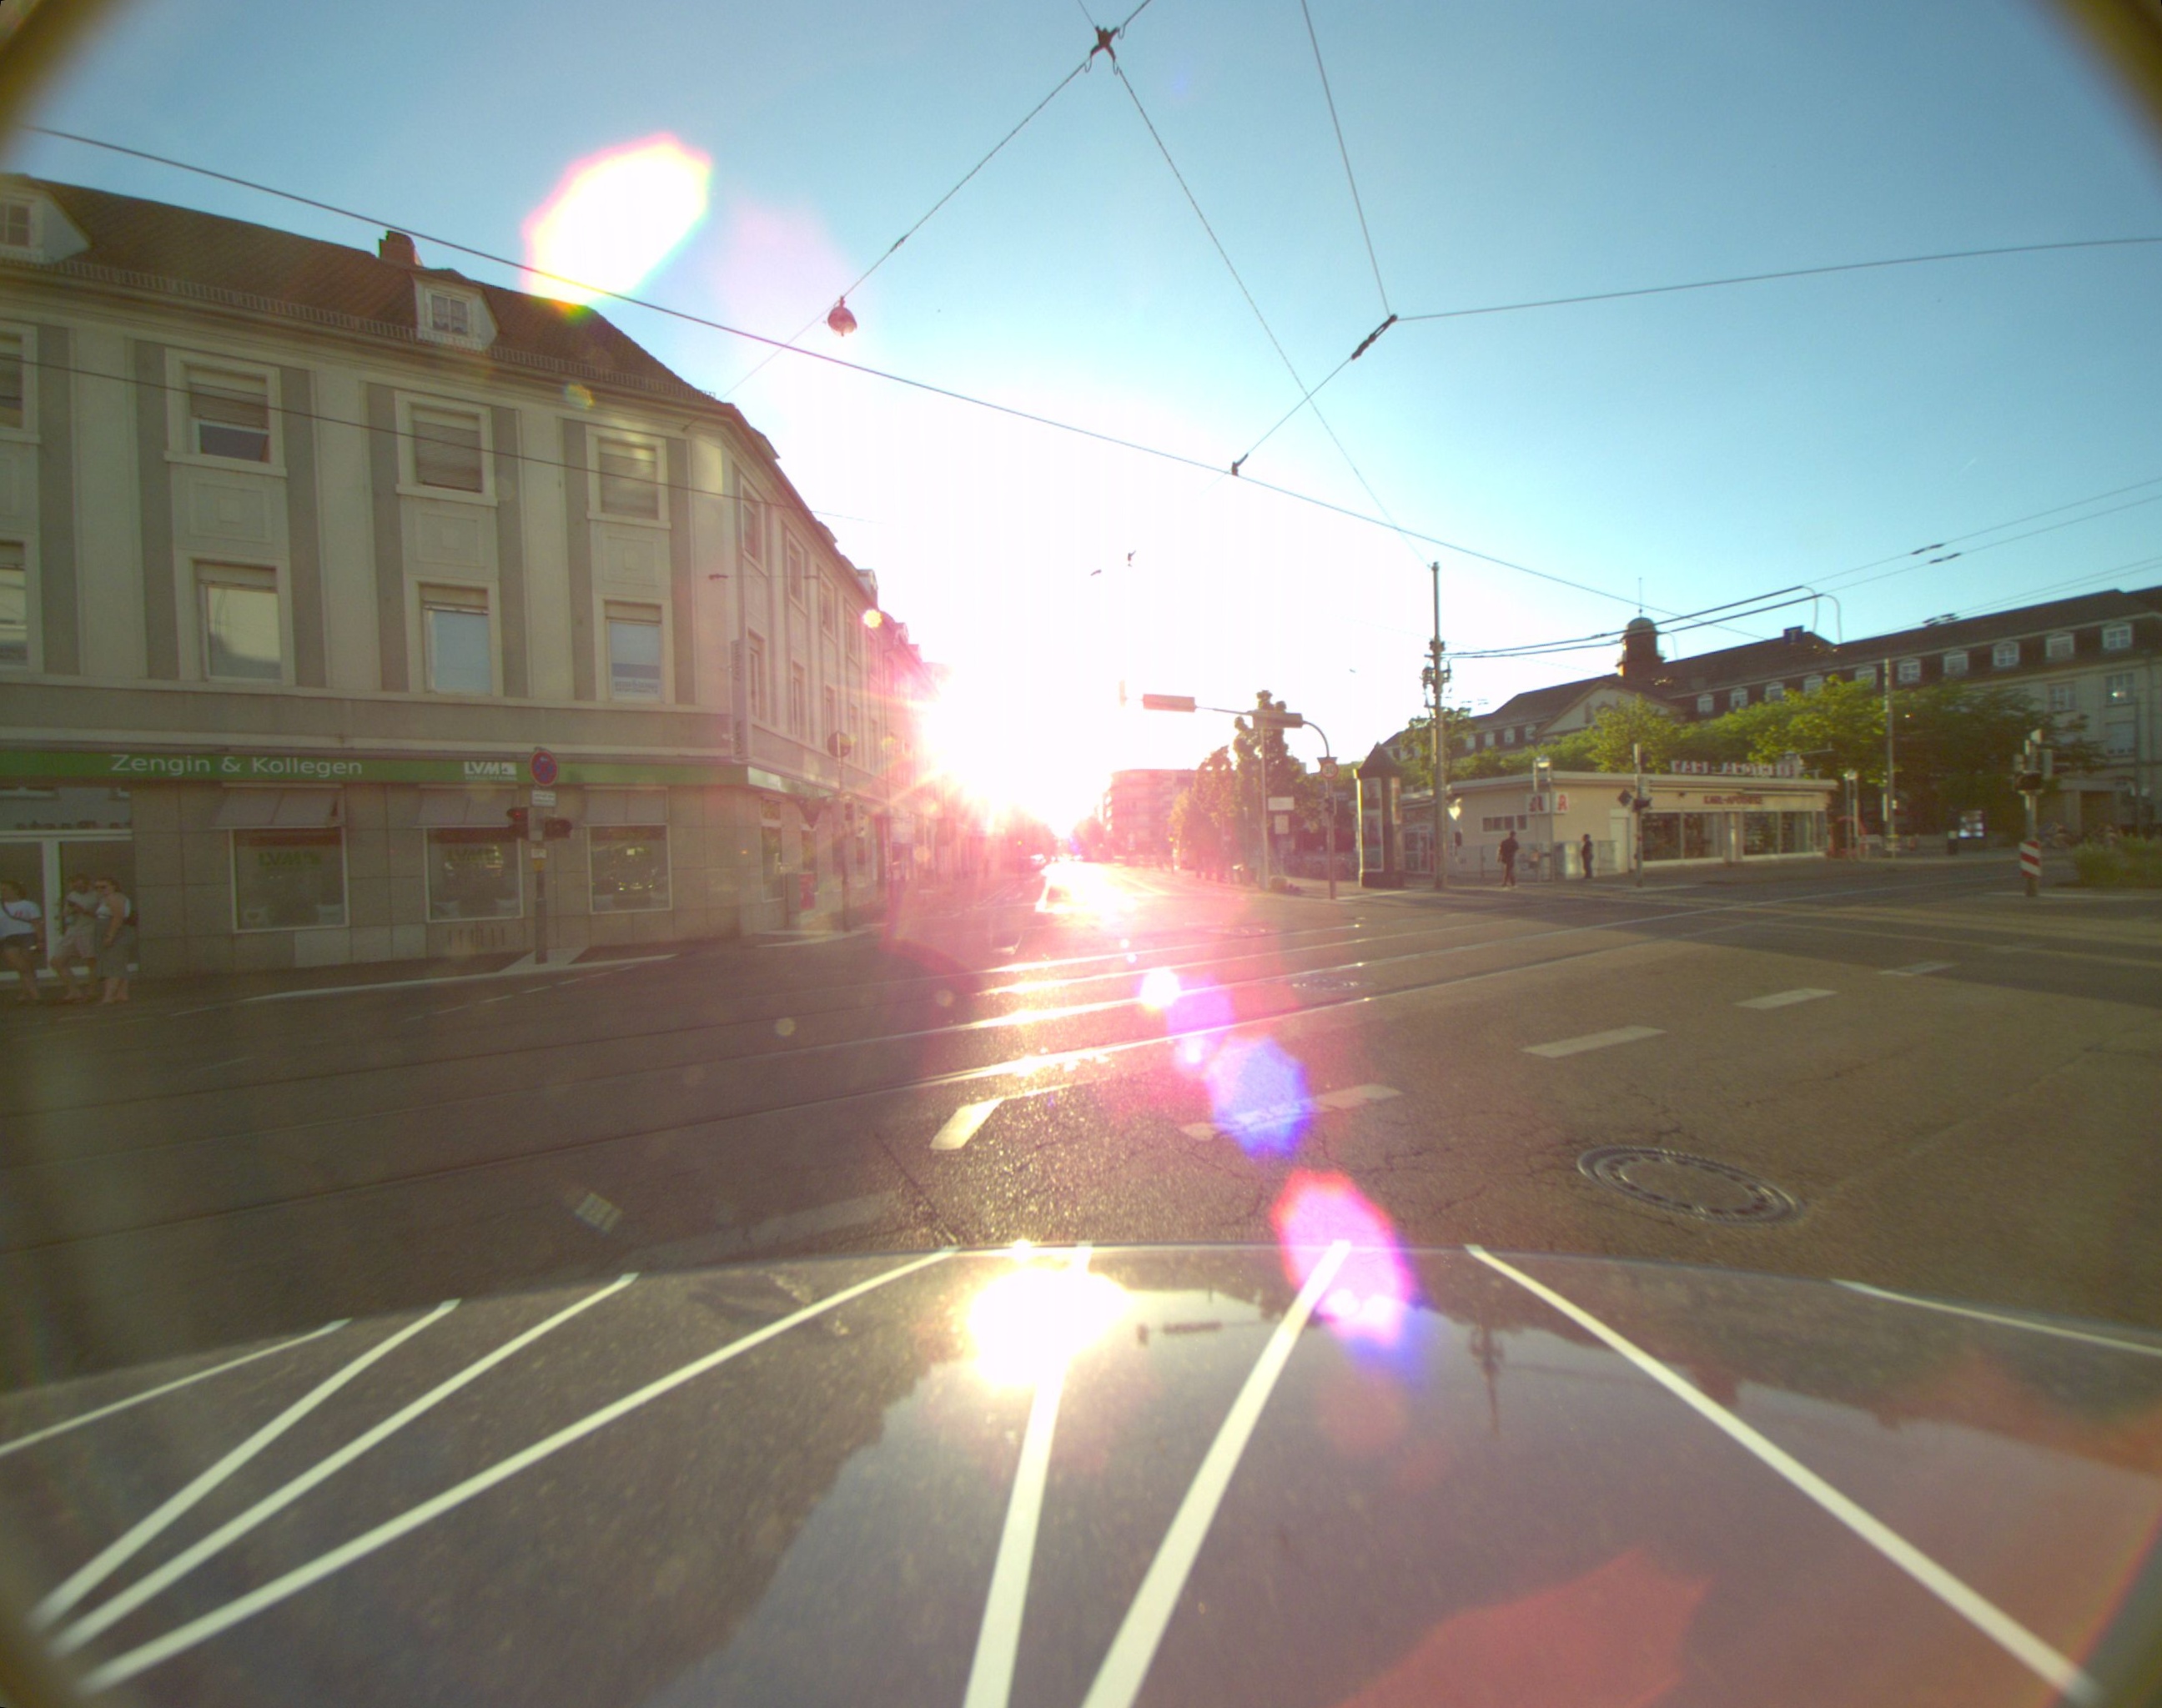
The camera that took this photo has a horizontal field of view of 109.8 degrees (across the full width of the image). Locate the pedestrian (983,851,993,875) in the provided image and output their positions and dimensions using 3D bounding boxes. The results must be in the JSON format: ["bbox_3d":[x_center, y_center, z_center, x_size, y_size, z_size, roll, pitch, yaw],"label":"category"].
[{"bbox_3d":[-7.149,0.690,58.305,0.673,1.774,0.720,-1,2,-18],"label":"pedestrian"}]

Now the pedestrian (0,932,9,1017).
[{"bbox_3d":[-14.930,1.354,10.000,0.688,1.761,0.763,-5,2,-42],"label":"pedestrian"}]

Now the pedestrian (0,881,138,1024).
[{"bbox_3d":[-14.001,1.311,10.455,0.780,1.802,0.905,-4,2,-13],"label":"pedestrian"}]

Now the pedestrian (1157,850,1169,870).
[{"bbox_3d":[6.995,0.509,64.863,0.905,1.667,0.780,-3,2,10],"label":"pedestrian"}]

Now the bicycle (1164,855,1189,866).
[{"bbox_3d":[9.503,0.632,75.640,2.399,0.953,0.672,-3,1,6],"label":"bicycle"}]

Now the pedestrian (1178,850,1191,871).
[{"bbox_3d":[8.387,0.533,61.550,0.778,1.667,0.908,-3,2,19],"label":"pedestrian"}]

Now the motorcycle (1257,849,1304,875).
[{"bbox_3d":[11.587,0.454,44.099,2.450,1.358,0.779,-3,0,4],"label":"motorcycle"}]

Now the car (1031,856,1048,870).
[{"bbox_3d":[-5.430,1.175,99.629,1.999,1.638,4.508,-4,1,-1],"label":"car"}]

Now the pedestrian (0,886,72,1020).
[{"bbox_3d":[-14.613,1.344,10.440,0.684,1.761,0.628,-5,2,-42],"label":"pedestrian"}]

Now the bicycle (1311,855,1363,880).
[{"bbox_3d":[12.144,0.635,36.077,2.222,1.081,0.779,-3,1,-8],"label":"bicycle"}]

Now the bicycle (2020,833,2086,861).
[{"bbox_3d":[57.782,-0.419,45.200,2.495,1.477,0.594,-3,2,17],"label":"bicycle"}]

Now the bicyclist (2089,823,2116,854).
[{"bbox_3d":[57.824,-0.887,43.001,0.654,1.702,0.621,-3,2,17],"label":"bicyclist"}]

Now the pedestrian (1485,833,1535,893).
[{"bbox_3d":[13.239,0.275,23.456,0.907,1.774,0.880,-4,2,-16],"label":"pedestrian"}]

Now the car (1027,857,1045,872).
[{"bbox_3d":[-5.530,1.310,93.883,1.999,1.538,4.508,-4,1,-1],"label":"car"}]

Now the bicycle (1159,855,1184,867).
[{"bbox_3d":[9.184,0.715,77.319,2.399,1.065,0.672,-3,1,6],"label":"bicycle"}]

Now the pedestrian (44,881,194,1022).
[{"bbox_3d":[-13.219,1.297,10.484,0.780,1.761,0.905,-4,2,-13],"label":"pedestrian"}]

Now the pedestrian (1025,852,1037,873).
[{"bbox_3d":[-4.345,0.711,66.042,0.842,1.736,0.700,-4,2,-3],"label":"pedestrian"}]

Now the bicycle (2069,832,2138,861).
[{"bbox_3d":[57.855,-0.404,43.014,2.414,1.477,0.616,-3,2,17],"label":"bicycle"}]

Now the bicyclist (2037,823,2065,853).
[{"bbox_3d":[57.688,-0.944,45.199,0.788,1.710,0.594,-3,2,17],"label":"bicyclist"}]

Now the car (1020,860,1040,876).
[{"bbox_3d":[-5.481,1.484,81.916,1.999,1.538,4.507,-4,1,-3],"label":"car"}]

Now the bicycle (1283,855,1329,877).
[{"bbox_3d":[12.093,0.654,40.875,2.181,1.081,0.779,-2,1,-2],"label":"bicycle"}]

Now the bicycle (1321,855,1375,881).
[{"bbox_3d":[12.292,0.638,34.961,2.197,1.081,0.779,-2,1,-8],"label":"bicycle"}]

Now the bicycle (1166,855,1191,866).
[{"bbox_3d":[9.567,0.652,74.609,2.399,0.953,0.672,-3,1,6],"label":"bicycle"}]

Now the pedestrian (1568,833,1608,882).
[{"bbox_3d":[17.820,0.132,26.702,0.781,1.667,0.904,-5,2,-36],"label":"pedestrian"}]
